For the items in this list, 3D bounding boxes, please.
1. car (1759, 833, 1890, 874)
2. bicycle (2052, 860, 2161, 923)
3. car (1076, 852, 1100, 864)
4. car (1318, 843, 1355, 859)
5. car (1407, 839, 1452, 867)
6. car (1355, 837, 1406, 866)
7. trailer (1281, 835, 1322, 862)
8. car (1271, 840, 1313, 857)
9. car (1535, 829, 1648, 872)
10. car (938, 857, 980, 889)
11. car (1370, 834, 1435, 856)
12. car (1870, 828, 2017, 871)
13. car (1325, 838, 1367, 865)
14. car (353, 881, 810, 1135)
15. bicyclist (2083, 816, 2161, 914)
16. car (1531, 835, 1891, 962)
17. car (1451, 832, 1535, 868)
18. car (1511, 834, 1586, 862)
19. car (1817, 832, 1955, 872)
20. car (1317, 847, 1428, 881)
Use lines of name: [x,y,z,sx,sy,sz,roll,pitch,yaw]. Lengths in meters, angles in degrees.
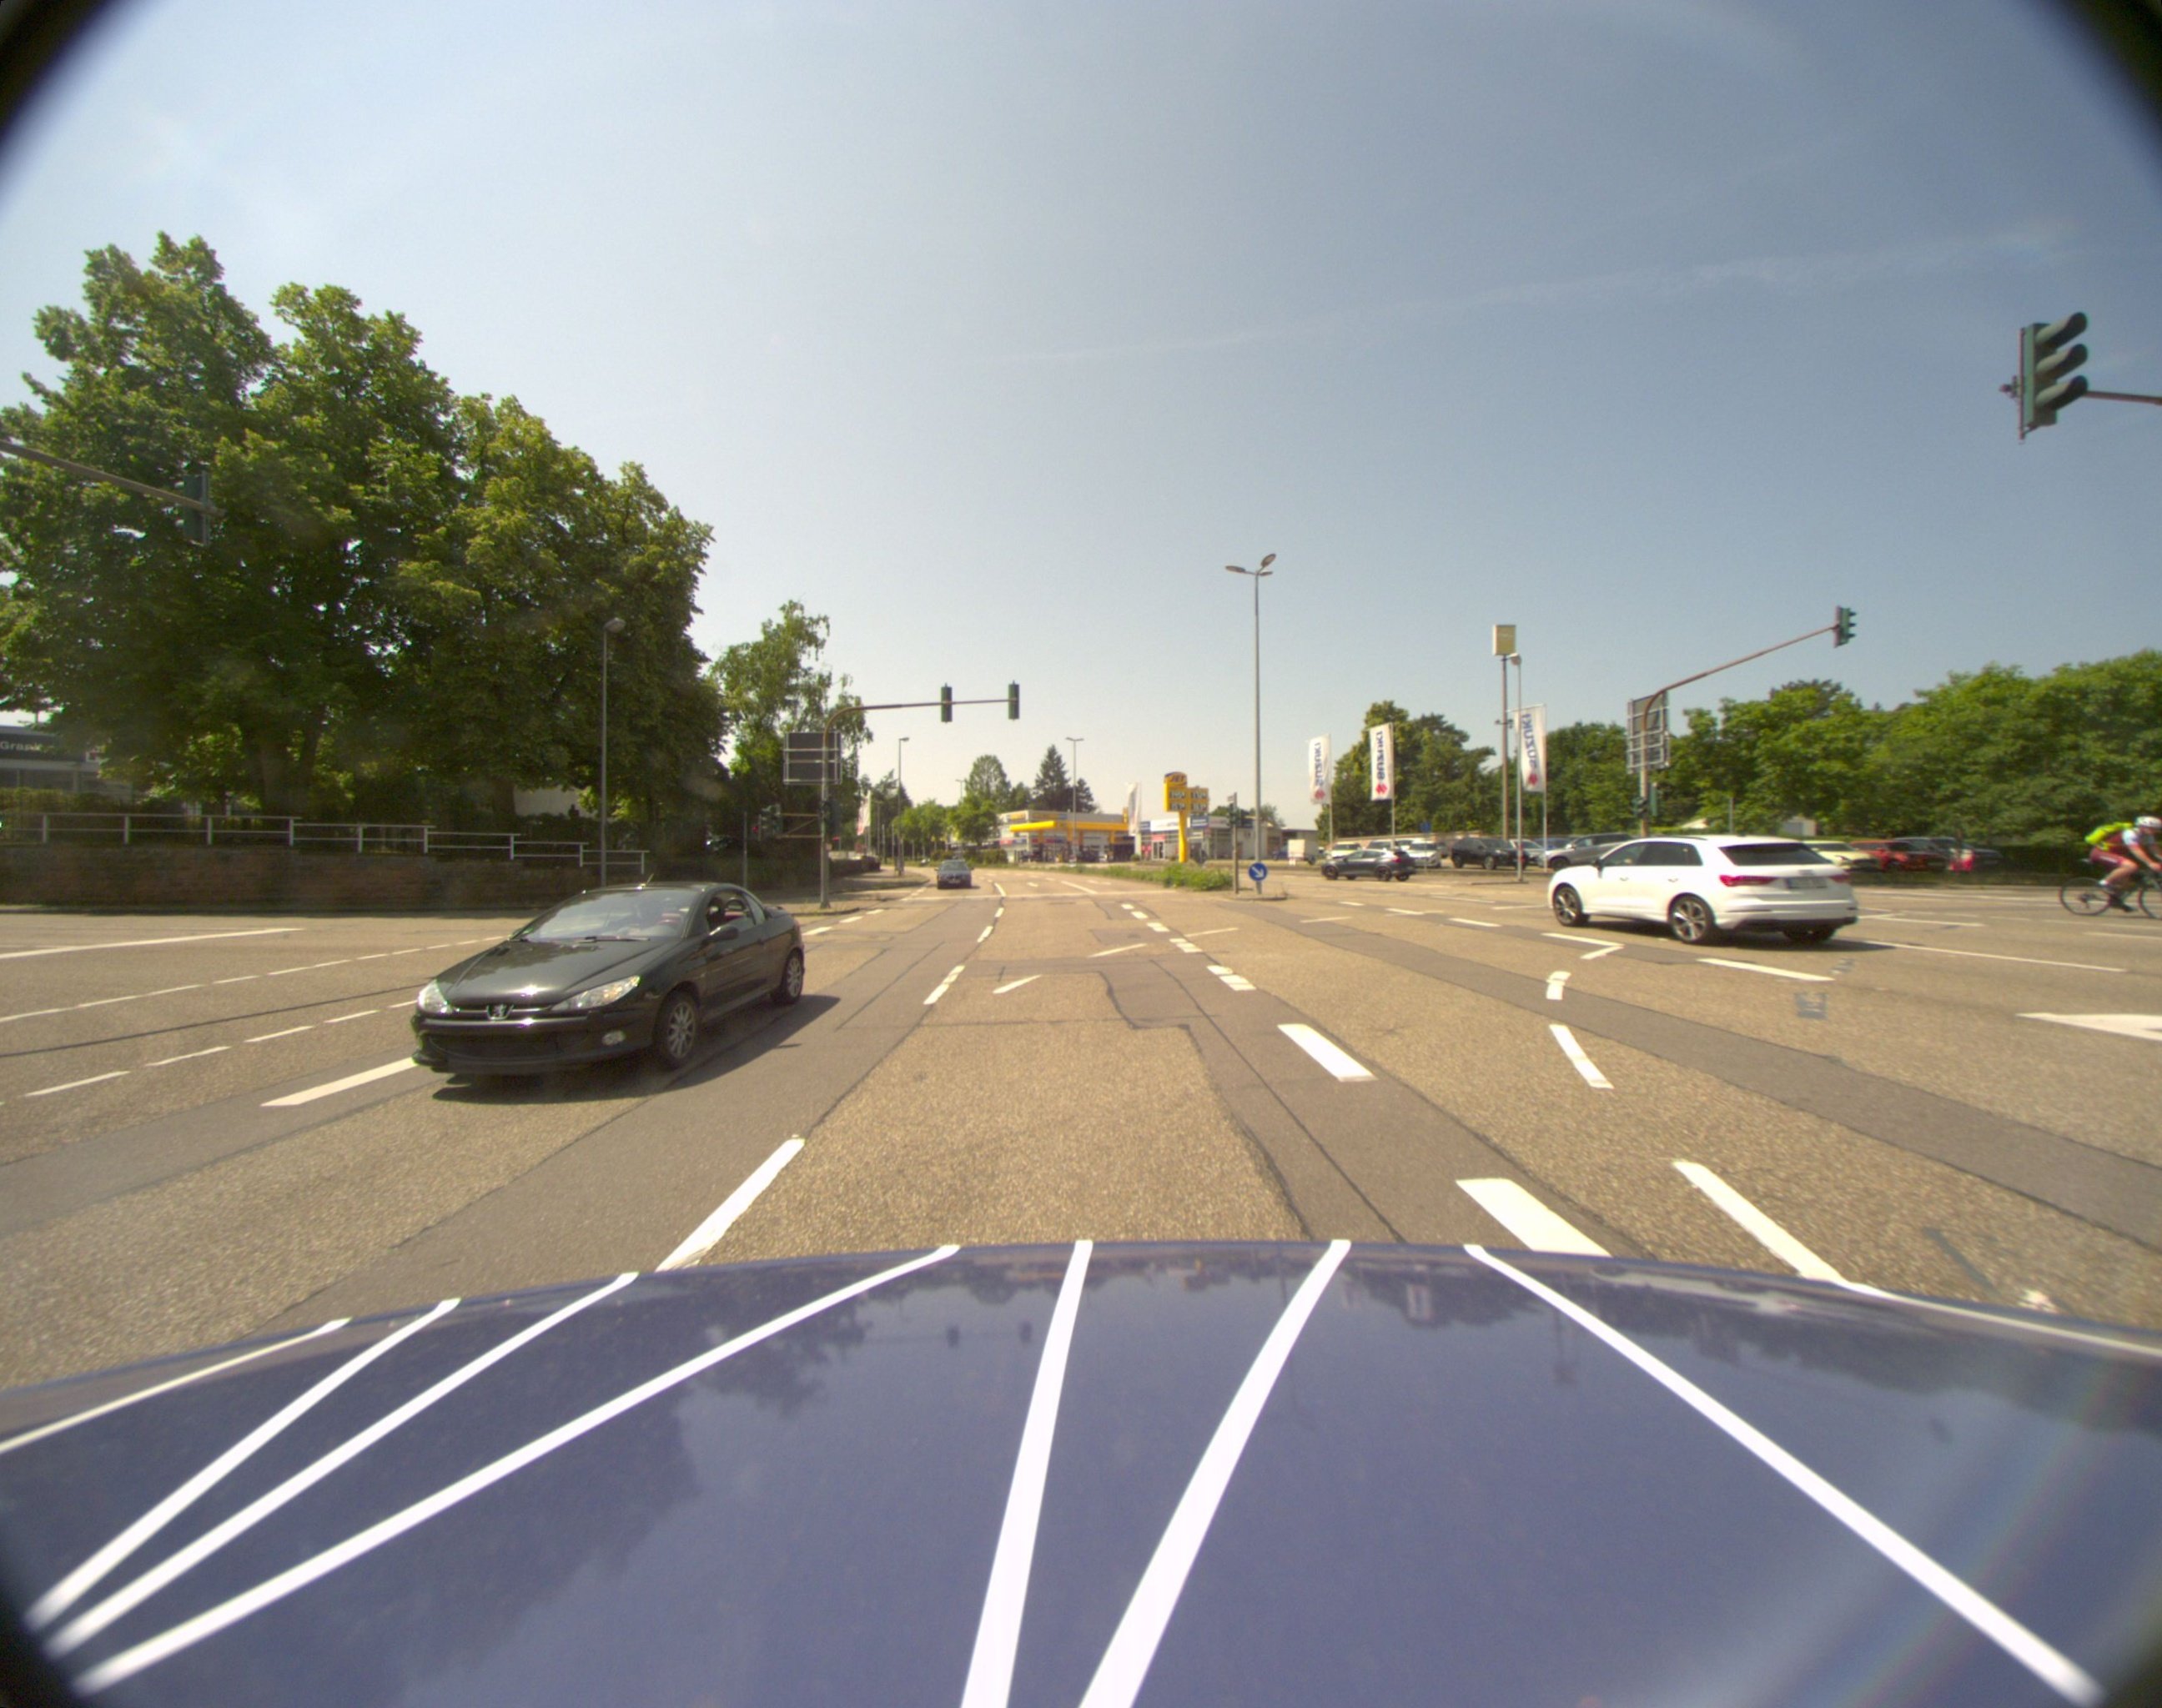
car: [33.925,-0.041,34.832,1.907,1.697,3.997,-2,1,-5]
bicycle: [18.132,0.631,13.052,0.422,1.047,1.788,-2,0,-10]
car: [0.988,0.521,106.674,1.659,1.534,4.204,-3,1,-25]
car: [26.057,-0.297,77.580,1.622,1.497,3.624,-2,1,-24]
car: [19.191,-0.081,41.804,1.711,1.424,3.969,0,2,33]
car: [17.519,-0.190,44.381,1.913,1.532,3.969,-1,1,34]
trailer: [14.655,-0.373,50.354,1.689,1.694,2.439,-1,1,42]
car: [19.097,-0.485,68.930,1.696,1.497,3.624,-2,1,-24]
car: [23.922,-0.207,35.794,4.297,1.891,1.833,1,3,31]
car: [-5.969,0.904,37.655,1.698,1.365,3.998,0,1,-4]
car: [25.289,-0.673,59.945,1.696,1.640,4.747,-2,1,-26]
car: [38.892,-0.224,34.420,1.999,1.740,3.997,-2,1,-5]
car: [16.315,-0.200,46.713,1.753,1.501,3.826,-1,1,29]
car: [-3.787,1.031,6.616,1.604,1.416,3.660,-2,0,-2]
bicyclist: [18.097,0.175,13.125,0.422,1.633,0.820,-2,1,-10]
car: [9.495,0.563,12.089,1.822,1.561,4.554,-2,1,-2]
car: [21.119,-0.251,39.099,1.846,1.714,4.011,-1,2,-6]
car: [27.906,-0.372,45.525,1.795,1.528,3.997,-2,1,-5]
car: [36.323,-0.115,34.426,1.868,1.674,3.997,-2,1,-5]
car: [13.514,0.446,35.408,2.008,1.477,4.428,0,0,-41]
